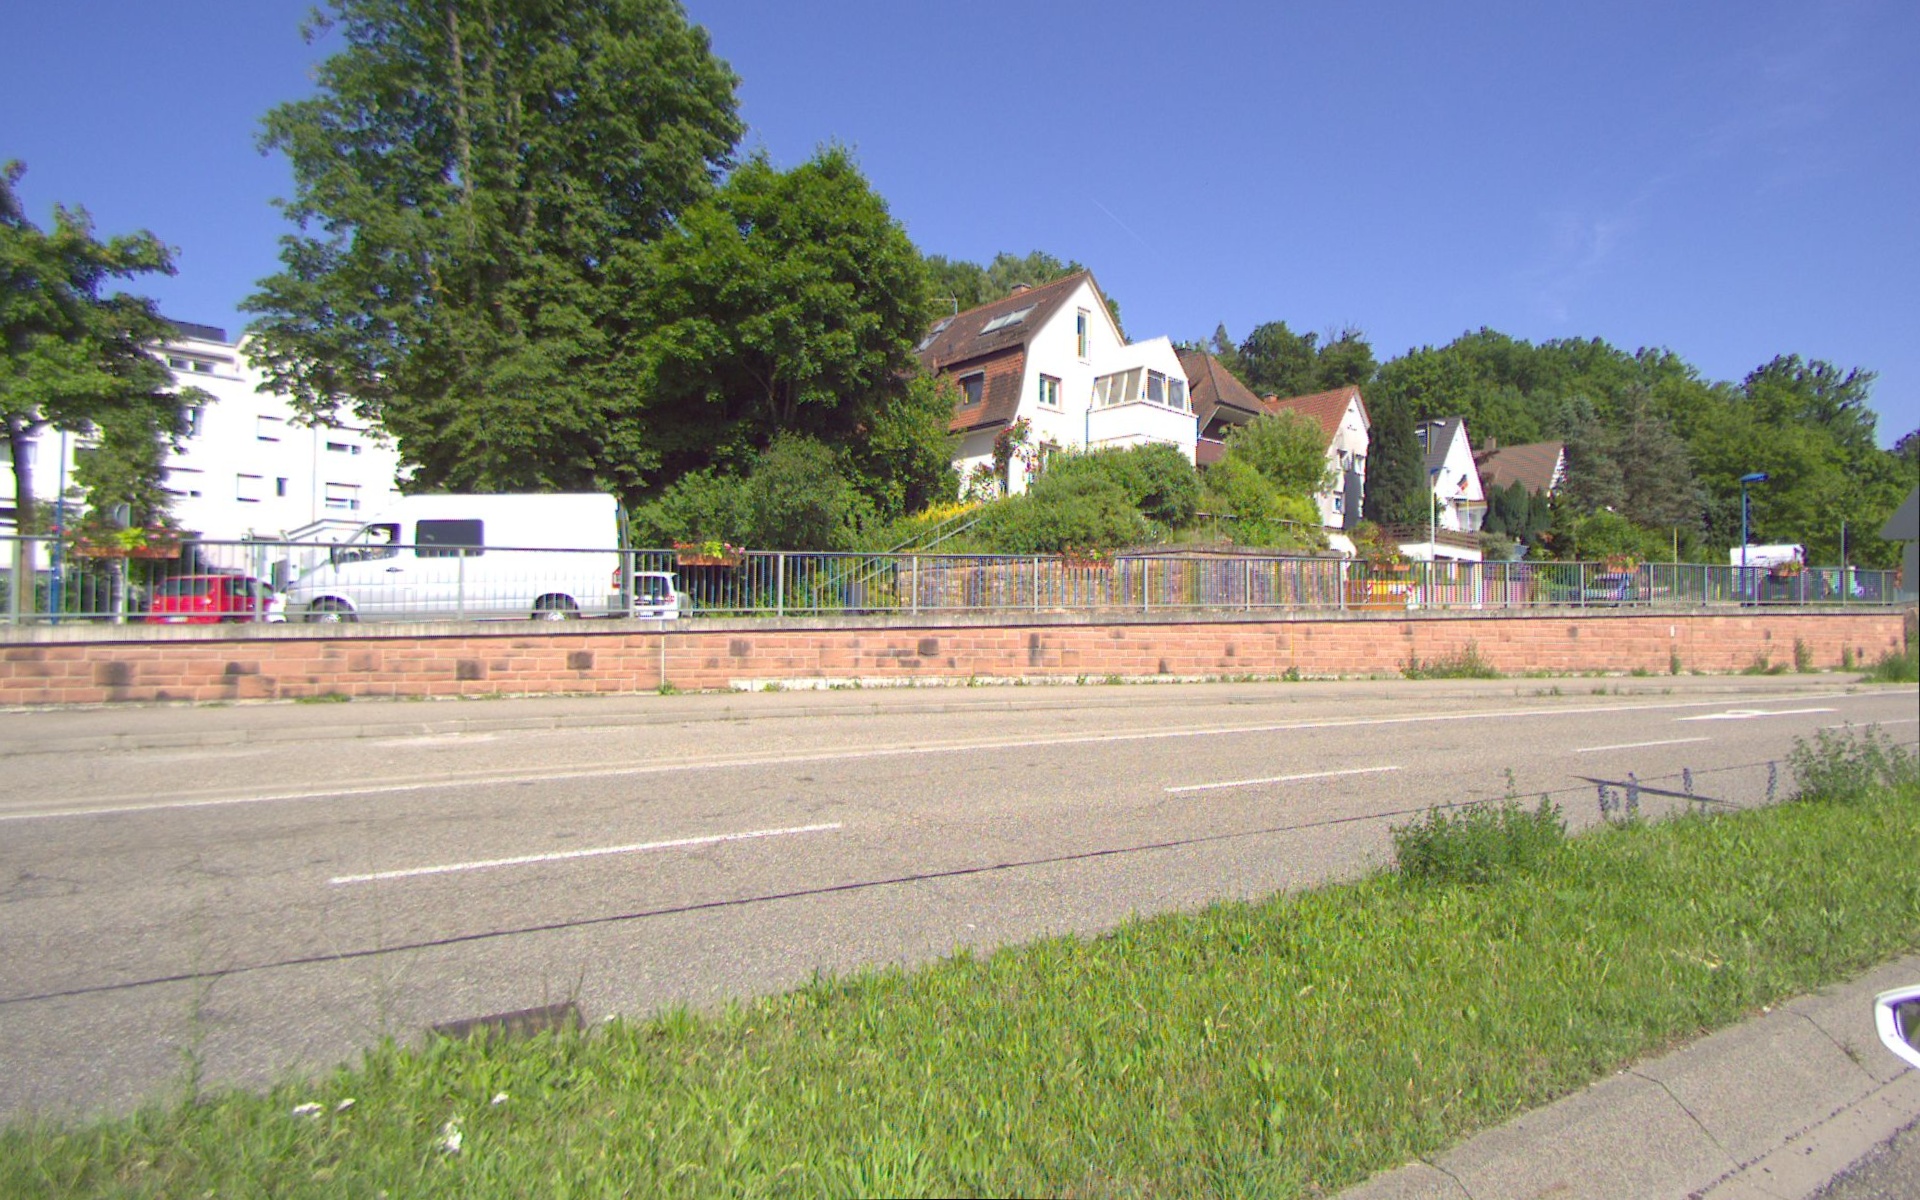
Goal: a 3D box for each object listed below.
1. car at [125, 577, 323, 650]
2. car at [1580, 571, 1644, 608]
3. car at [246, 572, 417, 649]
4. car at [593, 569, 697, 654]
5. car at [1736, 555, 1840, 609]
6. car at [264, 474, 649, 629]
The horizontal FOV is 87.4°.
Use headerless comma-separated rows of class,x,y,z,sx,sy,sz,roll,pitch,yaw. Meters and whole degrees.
car,-17.442,0.250,24.085,1.877,1.581,3.998,1,1,-2
car,31.209,-0.485,48.046,1.875,1.651,3.976,0,-1,44
car,-15.046,0.177,24.340,1.877,1.724,3.996,0,2,-5
car,-7.630,0.222,24.672,1.879,1.901,3.993,0,1,-9
car,31.765,-0.684,38.510,4.687,1.946,2.006,0,2,-37
car,-8.552,-0.781,17.711,5.684,2.477,2.094,0,2,-13
